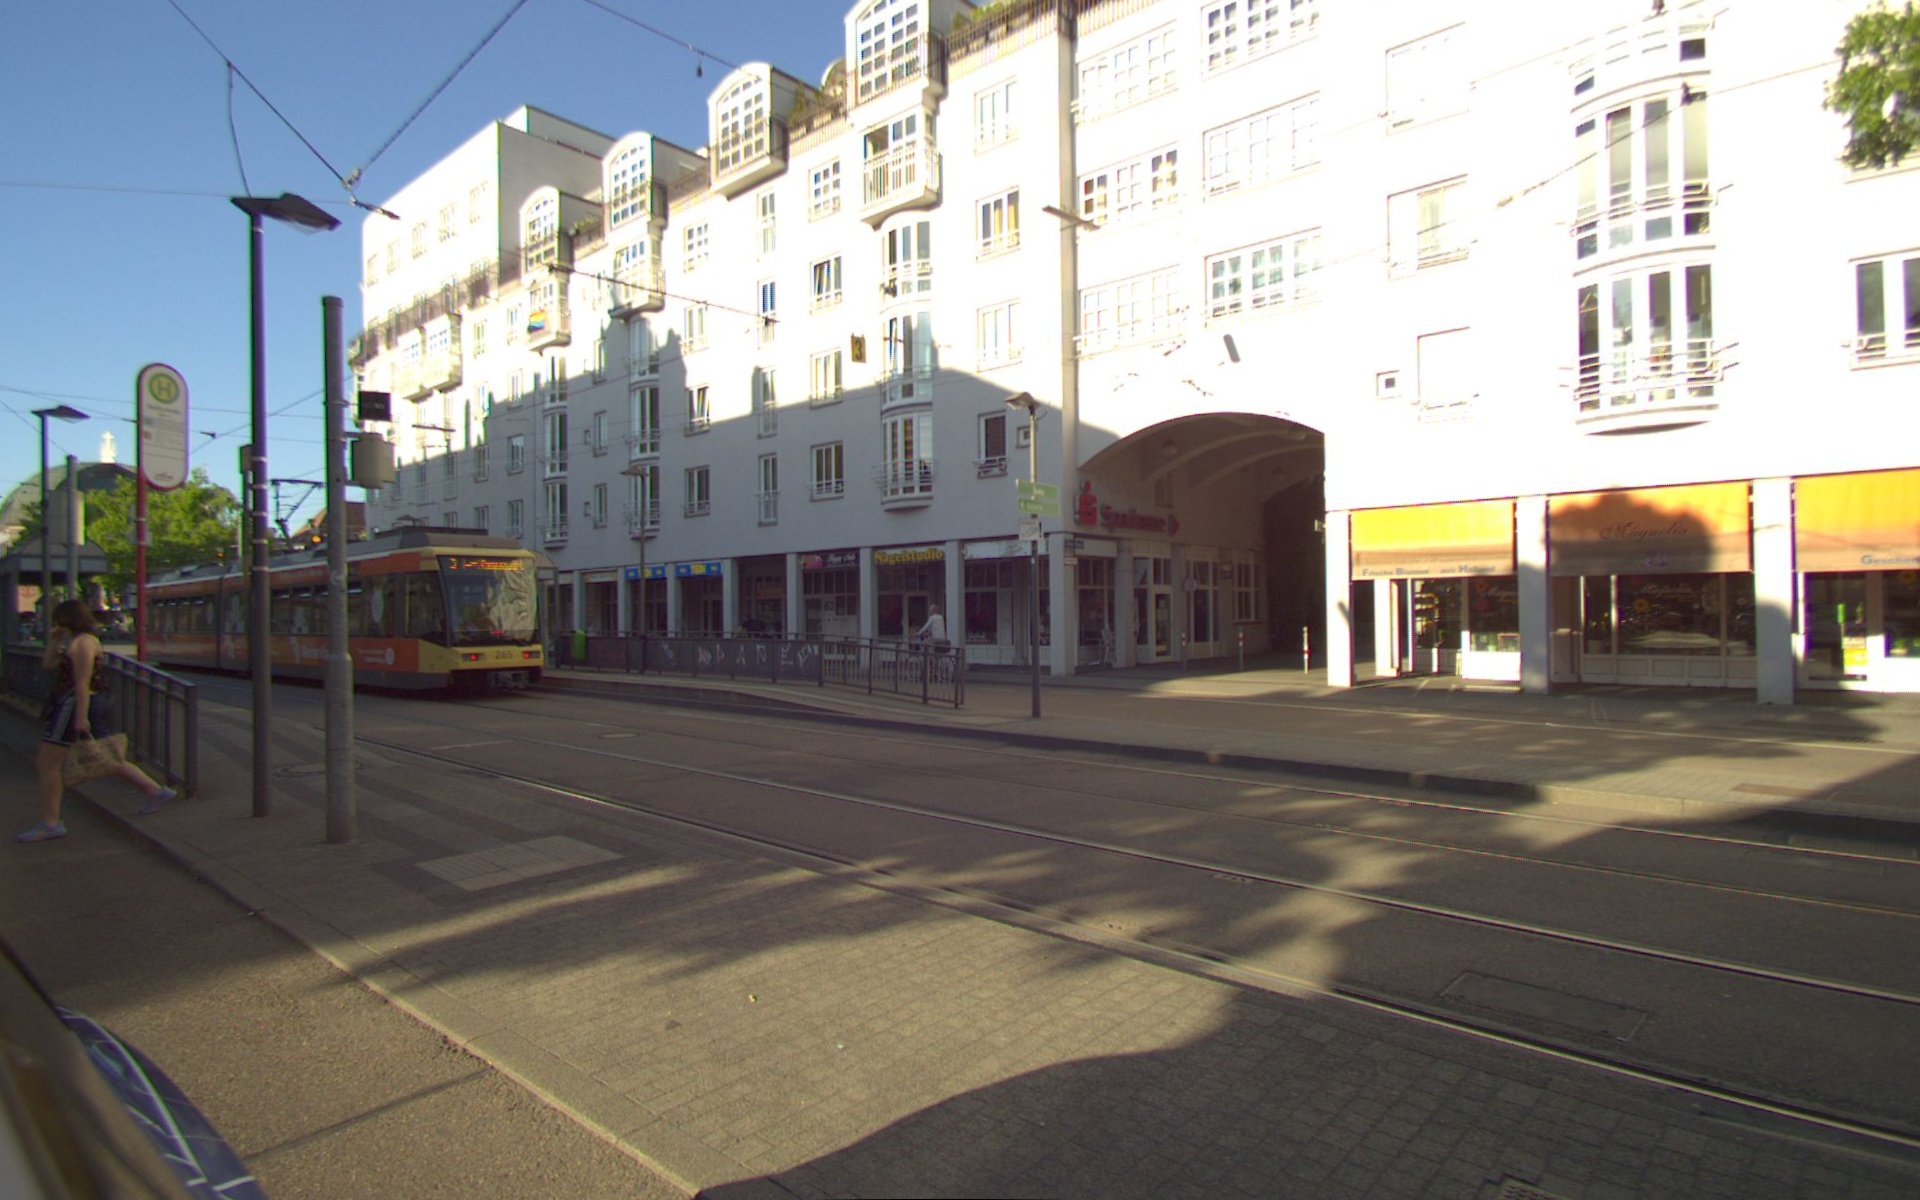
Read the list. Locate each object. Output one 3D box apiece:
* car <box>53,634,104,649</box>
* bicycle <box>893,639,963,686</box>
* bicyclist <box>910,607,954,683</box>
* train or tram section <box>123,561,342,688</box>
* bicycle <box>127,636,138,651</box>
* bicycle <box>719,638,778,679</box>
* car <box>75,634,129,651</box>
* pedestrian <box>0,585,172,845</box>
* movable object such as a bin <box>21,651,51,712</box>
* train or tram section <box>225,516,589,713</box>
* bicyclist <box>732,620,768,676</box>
[{"bbox_3d":[-96.662,4.534,111.011,1.778,1.486,3.988,-1,0,9],"label":"car"},{"bbox_3d":[-0.813,1.551,25.335,1.799,1.116,0.648,-2,-2,42],"label":"bicycle"},{"bbox_3d":[-0.699,1.108,25.240,0.844,1.849,0.648,-2,-2,42],"label":"bicyclist"},{"bbox_3d":[-24.700,0.769,33.813,14.162,3.516,2.855,-1,0,42],"label":"train or tram section"},{"bbox_3d":[-71.107,3.710,86.923,0.574,1.244,1.858,-2,0,-43],"label":"bicycle"},{"bbox_3d":[-6.042,1.666,28.876,1.799,1.116,0.721,-2,-2,42],"label":"bicycle"},{"bbox_3d":[-88.425,4.371,104.352,1.778,1.565,3.988,-1,0,9],"label":"car"},{"bbox_3d":[-6.435,0.783,7.383,0.786,1.727,0.861,-3,0,39],"label":"pedestrian"},{"bbox_3d":[-15.025,1.311,16.451,0.348,0.951,0.531,0,-2,-43],"label":"movable object such as a bin"},{"bbox_3d":[-13.909,0.349,24.147,14.947,3.516,2.854,-1,0,42],"label":"train or tram section"},{"bbox_3d":[-5.989,1.362,28.836,0.719,1.580,0.721,-2,-2,42],"label":"bicyclist"}]
